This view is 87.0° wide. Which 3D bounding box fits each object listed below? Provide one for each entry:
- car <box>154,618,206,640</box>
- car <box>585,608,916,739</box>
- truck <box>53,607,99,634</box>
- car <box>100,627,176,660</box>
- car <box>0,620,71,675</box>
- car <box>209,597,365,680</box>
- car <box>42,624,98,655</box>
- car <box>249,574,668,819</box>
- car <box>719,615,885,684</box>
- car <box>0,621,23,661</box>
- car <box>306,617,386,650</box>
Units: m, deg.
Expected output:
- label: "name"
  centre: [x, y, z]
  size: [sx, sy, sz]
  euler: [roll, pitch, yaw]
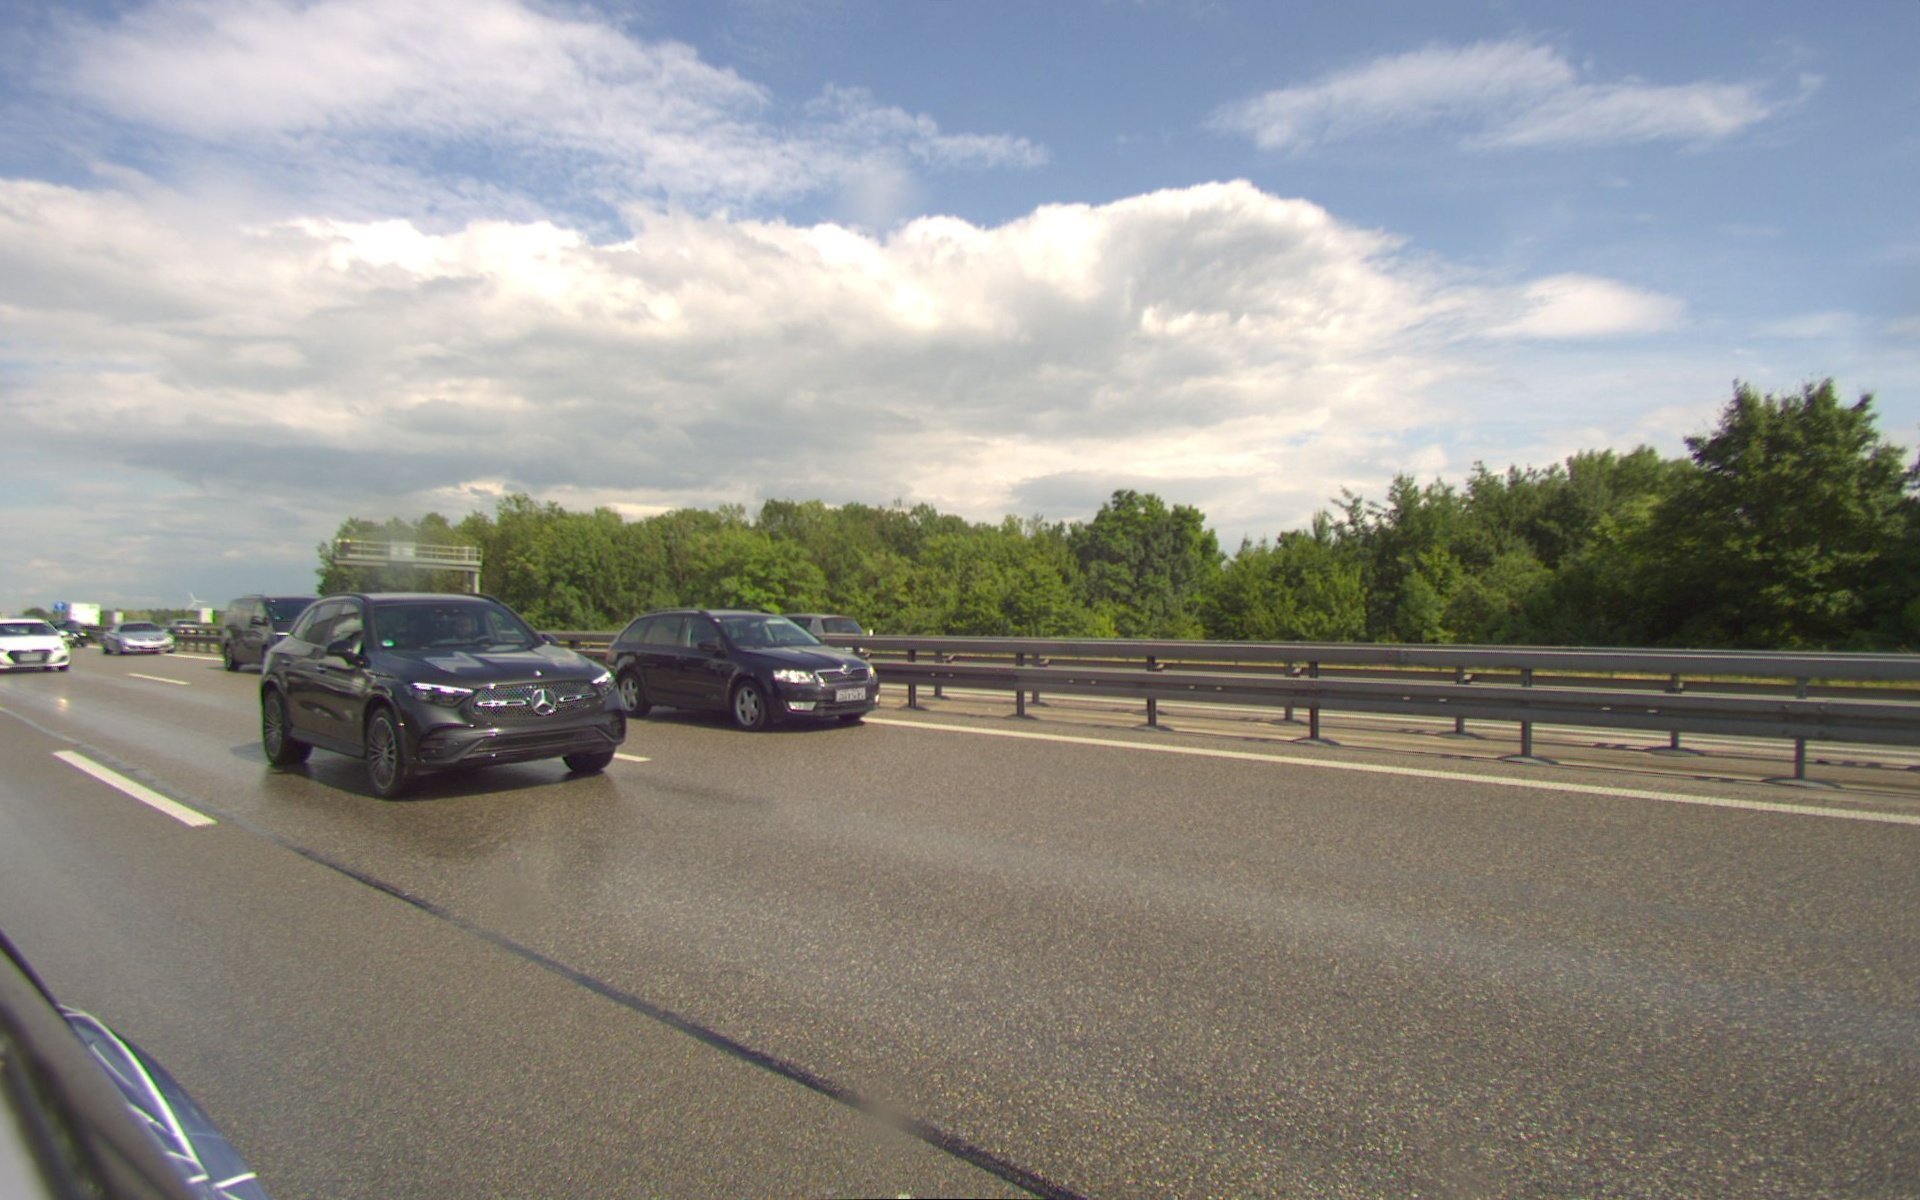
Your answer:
- label: "car"
  centre: [-50.129, 1.836, 65.049]
  size: [4.492, 1.364, 1.848]
  euler: [-1, -1, 42]
- label: "car"
  centre: [-2.852, 0.847, 13.295]
  size: [4.366, 1.435, 1.902]
  euler: [-1, -1, 38]
- label: "truck"
  centre: [-103.970, 2.425, 118.966]
  size: [8.716, 3.009, 2.886]
  euler: [-1, 0, 41]
- label: "car"
  centre: [-32.262, 1.664, 39.675]
  size: [3.583, 1.198, 1.832]
  euler: [-1, -1, 43]
- label: "car"
  centre: [-25.950, 1.273, 27.816]
  size: [4.238, 1.408, 1.785]
  euler: [-1, -1, 42]
- label: "car"
  centre: [-17.342, 0.925, 25.972]
  size: [5.232, 1.932, 1.973]
  euler: [-1, -1, 40]
- label: "car"
  centre: [-44.432, 1.950, 50.513]
  size: [3.998, 1.431, 1.597]
  euler: [-1, -1, 41]
- label: "car"
  centre: [-4.760, 0.705, 9.244]
  size: [4.625, 1.692, 1.856]
  euler: [-1, -1, 42]
- label: "car"
  centre: [-3.715, 1.094, 23.442]
  size: [3.998, 1.453, 1.649]
  euler: [-1, -1, 41]
- label: "car"
  centre: [-35.326, 1.477, 36.668]
  size: [3.997, 1.409, 1.577]
  euler: [-1, -1, 40]
- label: "car"
  centre: [-27.883, 1.481, 45.916]
  size: [3.995, 1.401, 1.844]
  euler: [-1, 0, 39]
